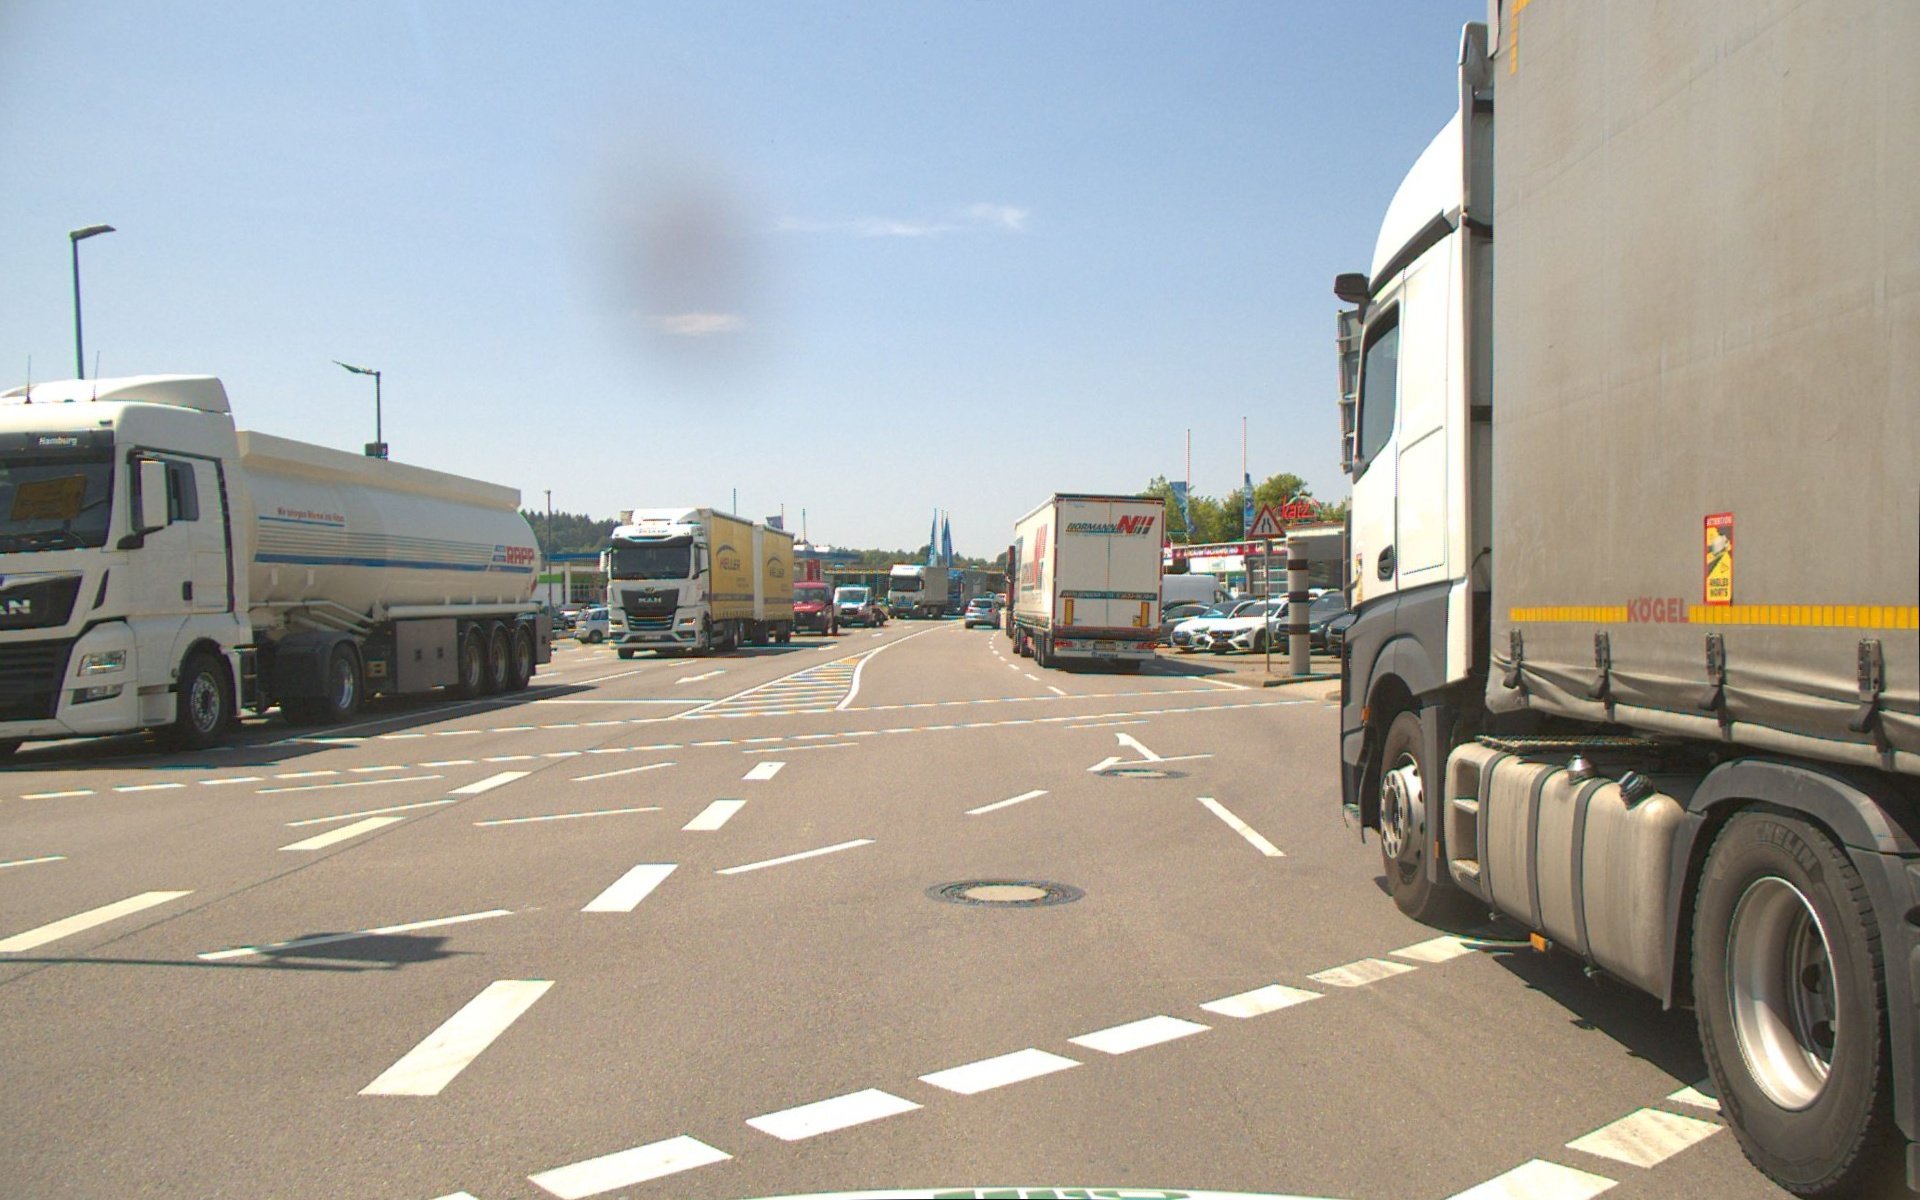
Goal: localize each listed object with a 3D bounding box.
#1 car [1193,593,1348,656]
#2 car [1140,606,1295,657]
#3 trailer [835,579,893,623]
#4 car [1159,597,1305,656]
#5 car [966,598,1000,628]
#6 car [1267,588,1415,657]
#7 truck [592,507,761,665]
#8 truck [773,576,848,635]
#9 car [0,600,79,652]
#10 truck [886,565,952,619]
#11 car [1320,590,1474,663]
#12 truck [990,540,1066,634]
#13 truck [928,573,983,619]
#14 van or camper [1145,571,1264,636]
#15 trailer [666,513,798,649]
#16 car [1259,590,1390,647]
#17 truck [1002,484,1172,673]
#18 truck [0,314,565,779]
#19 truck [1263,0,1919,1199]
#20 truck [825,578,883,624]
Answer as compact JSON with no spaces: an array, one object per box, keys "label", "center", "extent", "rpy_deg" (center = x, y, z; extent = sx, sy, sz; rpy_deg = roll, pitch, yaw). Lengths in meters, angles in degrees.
[{"label":"car","center":[9.263,0.696,49.156],"extent":[4.694,1.580,1.972],"rpy_deg":[-3,1,-39]},{"label":"car","center":[8.402,1.055,54.341],"extent":[1.912,1.411,4.857],"rpy_deg":[-1,-2,-43]},{"label":"trailer","center":[-5.511,0.063,95.770],"extent":[2.377,2.379,6.900],"rpy_deg":[-2,0,4]},{"label":"car","center":[8.500,0.805,51.612],"extent":[4.419,1.433,1.728],"rpy_deg":[-5,2,-32]},{"label":"car","center":[1.303,0.731,94.066],"extent":[1.884,1.638,4.095],"rpy_deg":[0,-1,1]},{"label":"car","center":[10.833,0.613,46.941],"extent":[4.130,1.721,1.860],"rpy_deg":[-3,1,-37]},{"label":"truck","center":[-8.133,-0.362,48.948],"extent":[2.966,4.177,10.356],"rpy_deg":[0,0,1]},{"label":"truck","center":[-6.640,0.267,74.455],"extent":[2.346,2.487,6.874],"rpy_deg":[1,-1,3]},{"label":"car","center":[-28.359,0.761,48.553],"extent":[1.958,1.490,3.989],"rpy_deg":[-1,-1,32]},{"label":"truck","center":[-3.080,-0.511,130.884],"extent":[2.731,3.957,16.494],"rpy_deg":[1,-1,7]},{"label":"car","center":[11.858,0.687,44.792],"extent":[4.140,1.721,1.860],"rpy_deg":[-3,1,-37]},{"label":"truck","center":[2.992,-0.530,76.107],"extent":[2.594,3.873,13.356],"rpy_deg":[2,0,-1]},{"label":"truck","center":[-0.243,-0.253,152.320],"extent":[2.783,3.957,17.017],"rpy_deg":[1,-1,7]},{"label":"van or camper","center":[11.280,0.138,76.636],"extent":[5.256,2.956,2.233],"rpy_deg":[0,0,3]},{"label":"trailer","center":[-7.837,-0.592,58.290],"extent":[2.948,4.362,10.061],"rpy_deg":[0,0,2]},{"label":"car","center":[12.611,0.662,57.353],"extent":[1.839,1.744,4.083],"rpy_deg":[-1,-2,-43]},{"label":"truck","center":[3.072,-0.457,45.793],"extent":[2.913,4.165,17.629],"rpy_deg":[1,0,-1]},{"label":"truck","center":[-8.642,-0.449,22.232],"extent":[2.551,4.088,15.133],"rpy_deg":[-2,0,1]},{"label":"truck","center":[3.347,-0.567,6.649],"extent":[2.913,4.080,6.326],"rpy_deg":[-2,0,-1]},{"label":"truck","center":[-5.810,0.061,91.641],"extent":[2.374,2.381,5.677],"rpy_deg":[-2,0,4]}]
